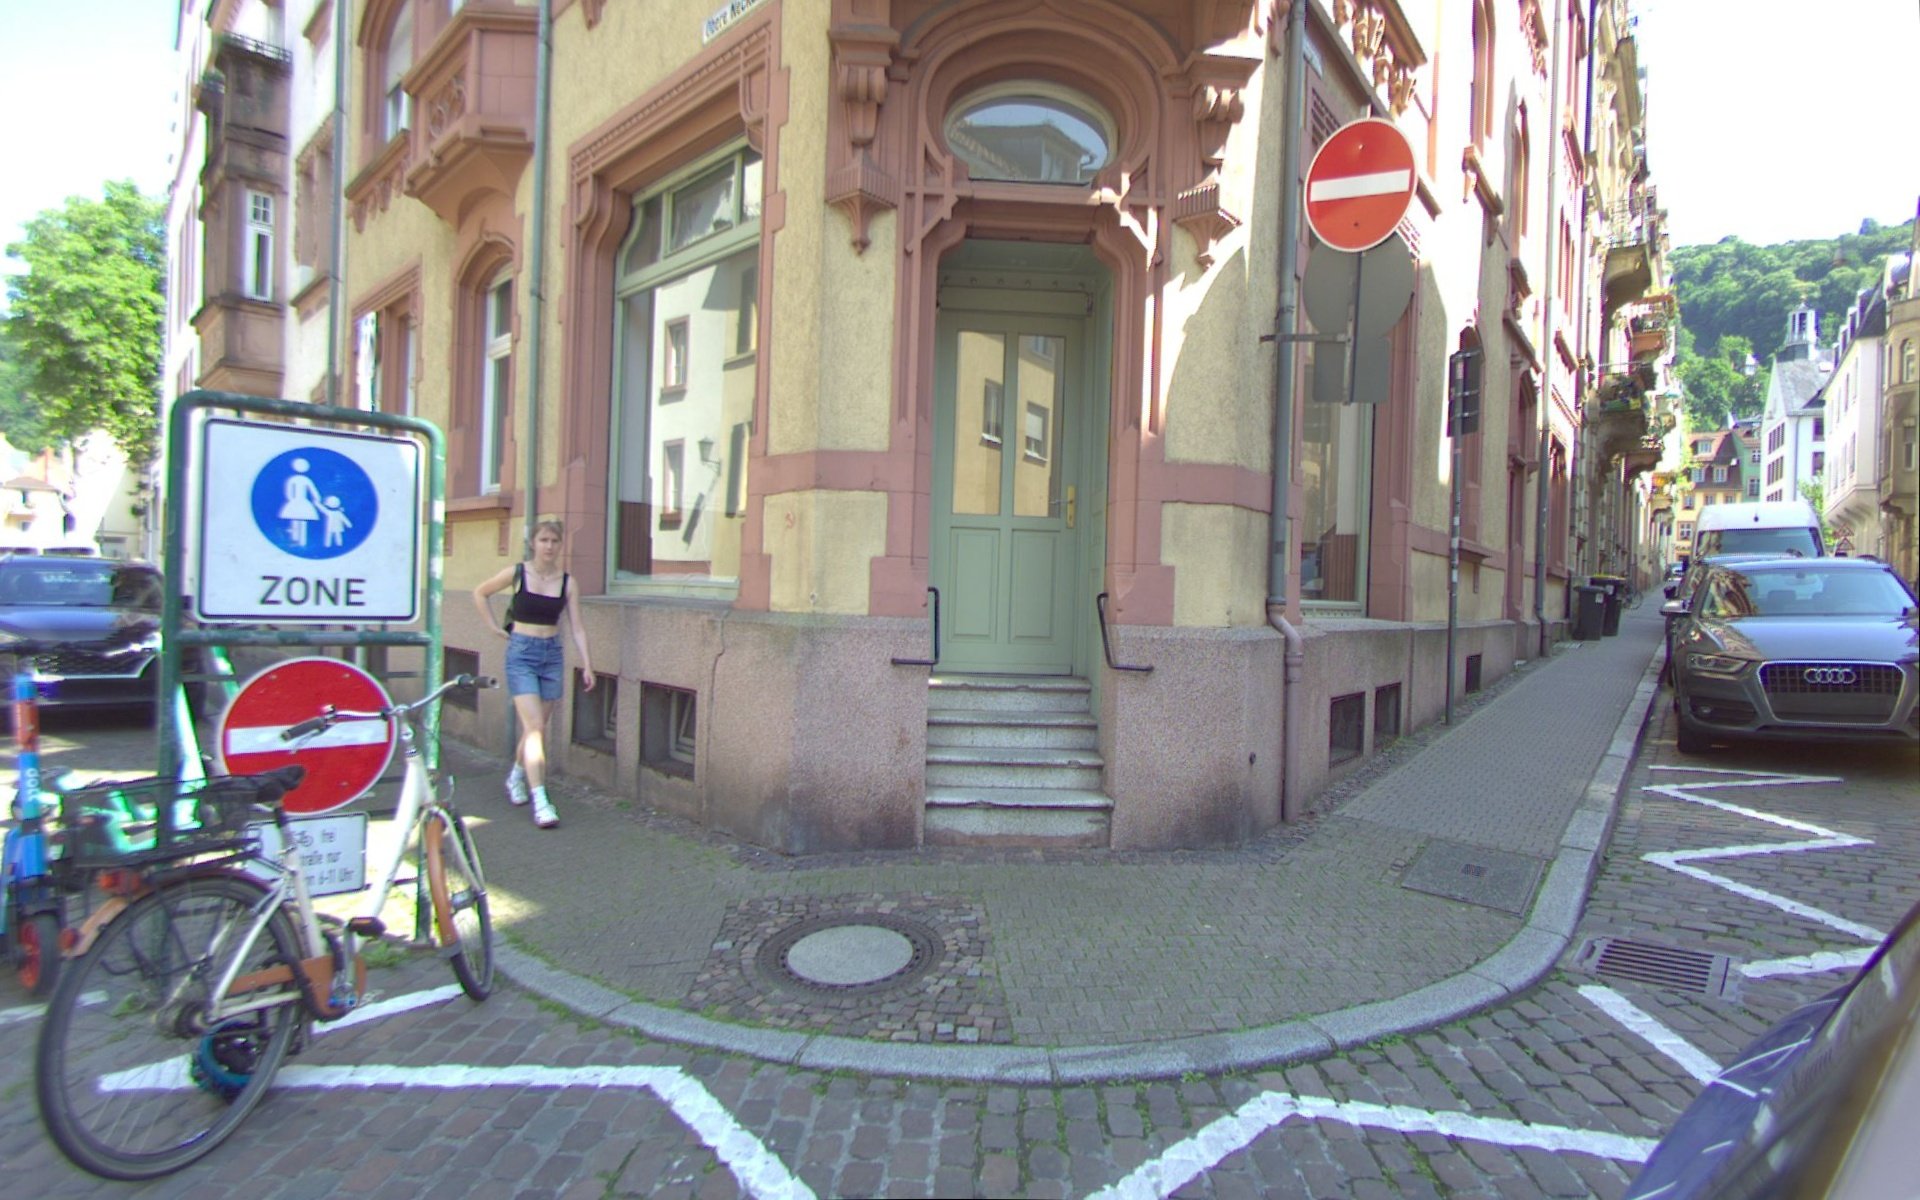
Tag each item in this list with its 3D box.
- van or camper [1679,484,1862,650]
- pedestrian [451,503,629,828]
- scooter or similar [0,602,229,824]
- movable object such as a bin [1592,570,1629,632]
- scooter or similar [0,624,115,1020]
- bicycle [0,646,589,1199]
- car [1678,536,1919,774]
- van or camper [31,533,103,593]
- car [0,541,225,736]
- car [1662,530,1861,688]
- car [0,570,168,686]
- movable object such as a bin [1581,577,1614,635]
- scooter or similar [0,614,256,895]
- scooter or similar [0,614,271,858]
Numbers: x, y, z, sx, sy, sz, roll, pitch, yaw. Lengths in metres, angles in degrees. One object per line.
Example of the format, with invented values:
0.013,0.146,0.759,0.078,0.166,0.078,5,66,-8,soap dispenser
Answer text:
14.859,-0.676,18.912,2.213,2.550,6.683,2,4,36,van or camper
-2.537,0.336,6.091,0.613,1.779,0.978,-4,3,-44,pedestrian
-5.273,0.633,6.286,0.338,1.224,1.182,1,1,21,scooter or similar
11.744,0.017,18.279,0.515,1.103,0.416,1,0,38,movable object such as a bin
-3.612,0.744,3.724,1.182,1.250,0.437,2,1,33,scooter or similar
-1.865,0.796,3.140,0.497,1.160,1.788,2,2,10,bicycle
7.365,0.308,8.771,1.850,1.602,4.207,0,1,35,car
-37.582,-1.519,42.549,2.149,2.350,5.350,0,1,-43,van or camper
-9.180,0.276,10.449,3.988,1.663,1.968,2,2,45,car
10.319,0.044,13.190,1.751,1.727,3.948,-1,1,37,car
-12.518,0.300,14.378,1.684,1.375,3.328,-4,4,-43,car
10.951,0.094,17.390,0.437,0.969,0.345,1,0,38,movable object such as a bin
-4.189,0.707,5.170,0.336,1.224,1.191,1,1,0,scooter or similar
-4.764,0.711,5.858,0.409,1.224,1.223,2,1,27,scooter or similar
